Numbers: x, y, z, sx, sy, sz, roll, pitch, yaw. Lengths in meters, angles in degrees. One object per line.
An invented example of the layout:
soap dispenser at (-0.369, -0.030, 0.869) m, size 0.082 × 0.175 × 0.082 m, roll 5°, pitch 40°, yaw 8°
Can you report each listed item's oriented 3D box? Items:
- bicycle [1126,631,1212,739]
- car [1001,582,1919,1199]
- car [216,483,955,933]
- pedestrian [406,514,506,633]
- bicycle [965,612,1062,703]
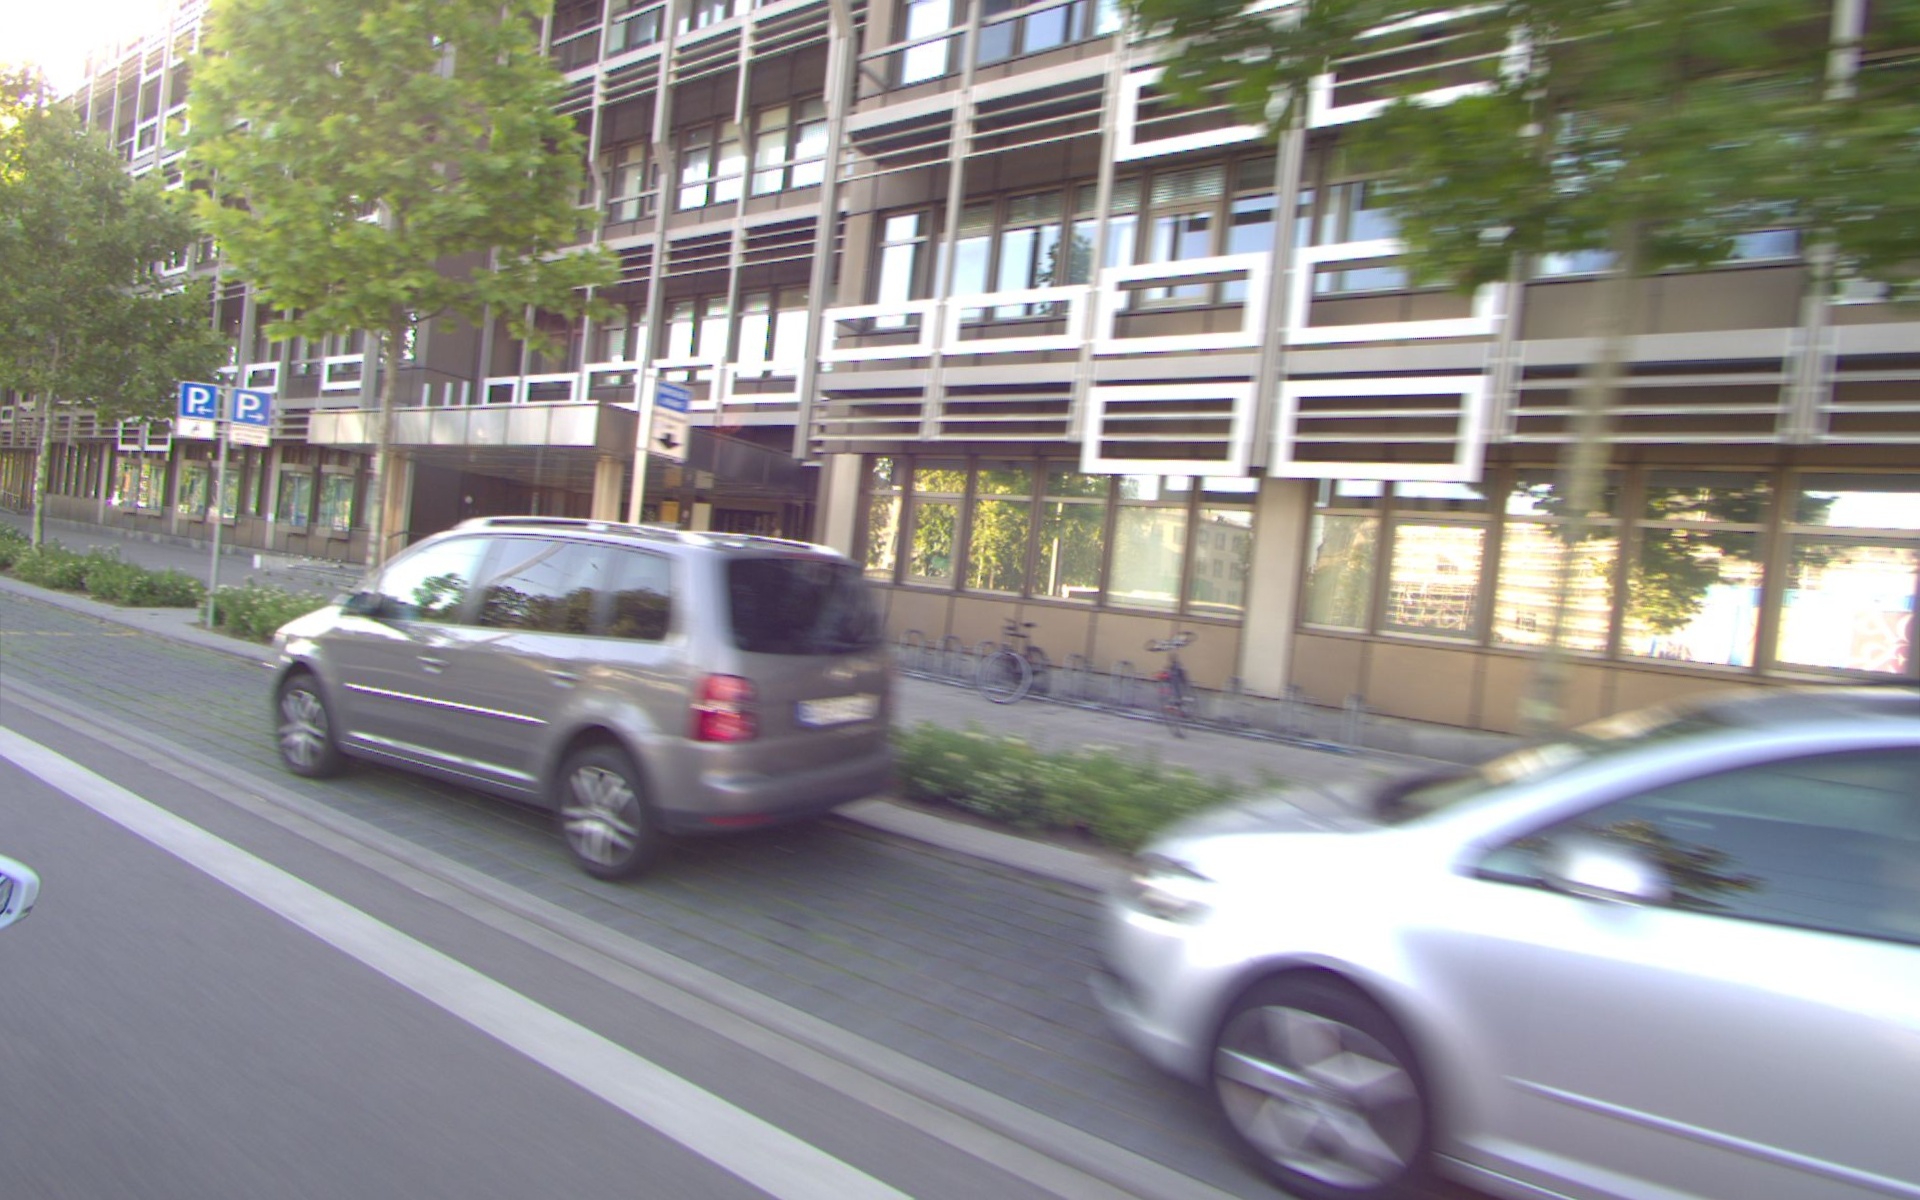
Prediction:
bicycle at (2.445, 0.937, 11.595) m, size 0.385 × 1.107 × 1.902 m, roll 7°, pitch 1°, yaw 27°
car at (2.404, 0.996, 2.814) m, size 4.146 × 1.643 × 1.728 m, roll 7°, pitch 2°, yaw 31°
car at (-2.430, 0.347, 6.070) m, size 4.439 × 1.711 × 1.728 m, roll 7°, pitch 2°, yaw 31°
pedestrian at (-7.695, -0.401, 15.354) m, size 1.118 × 1.670 × 0.789 m, roll 7°, pitch 2°, yaw 33°
bicycle at (0.729, 0.755, 13.183) m, size 0.386 × 1.096 × 1.627 m, roll 7°, pitch 1°, yaw 34°
